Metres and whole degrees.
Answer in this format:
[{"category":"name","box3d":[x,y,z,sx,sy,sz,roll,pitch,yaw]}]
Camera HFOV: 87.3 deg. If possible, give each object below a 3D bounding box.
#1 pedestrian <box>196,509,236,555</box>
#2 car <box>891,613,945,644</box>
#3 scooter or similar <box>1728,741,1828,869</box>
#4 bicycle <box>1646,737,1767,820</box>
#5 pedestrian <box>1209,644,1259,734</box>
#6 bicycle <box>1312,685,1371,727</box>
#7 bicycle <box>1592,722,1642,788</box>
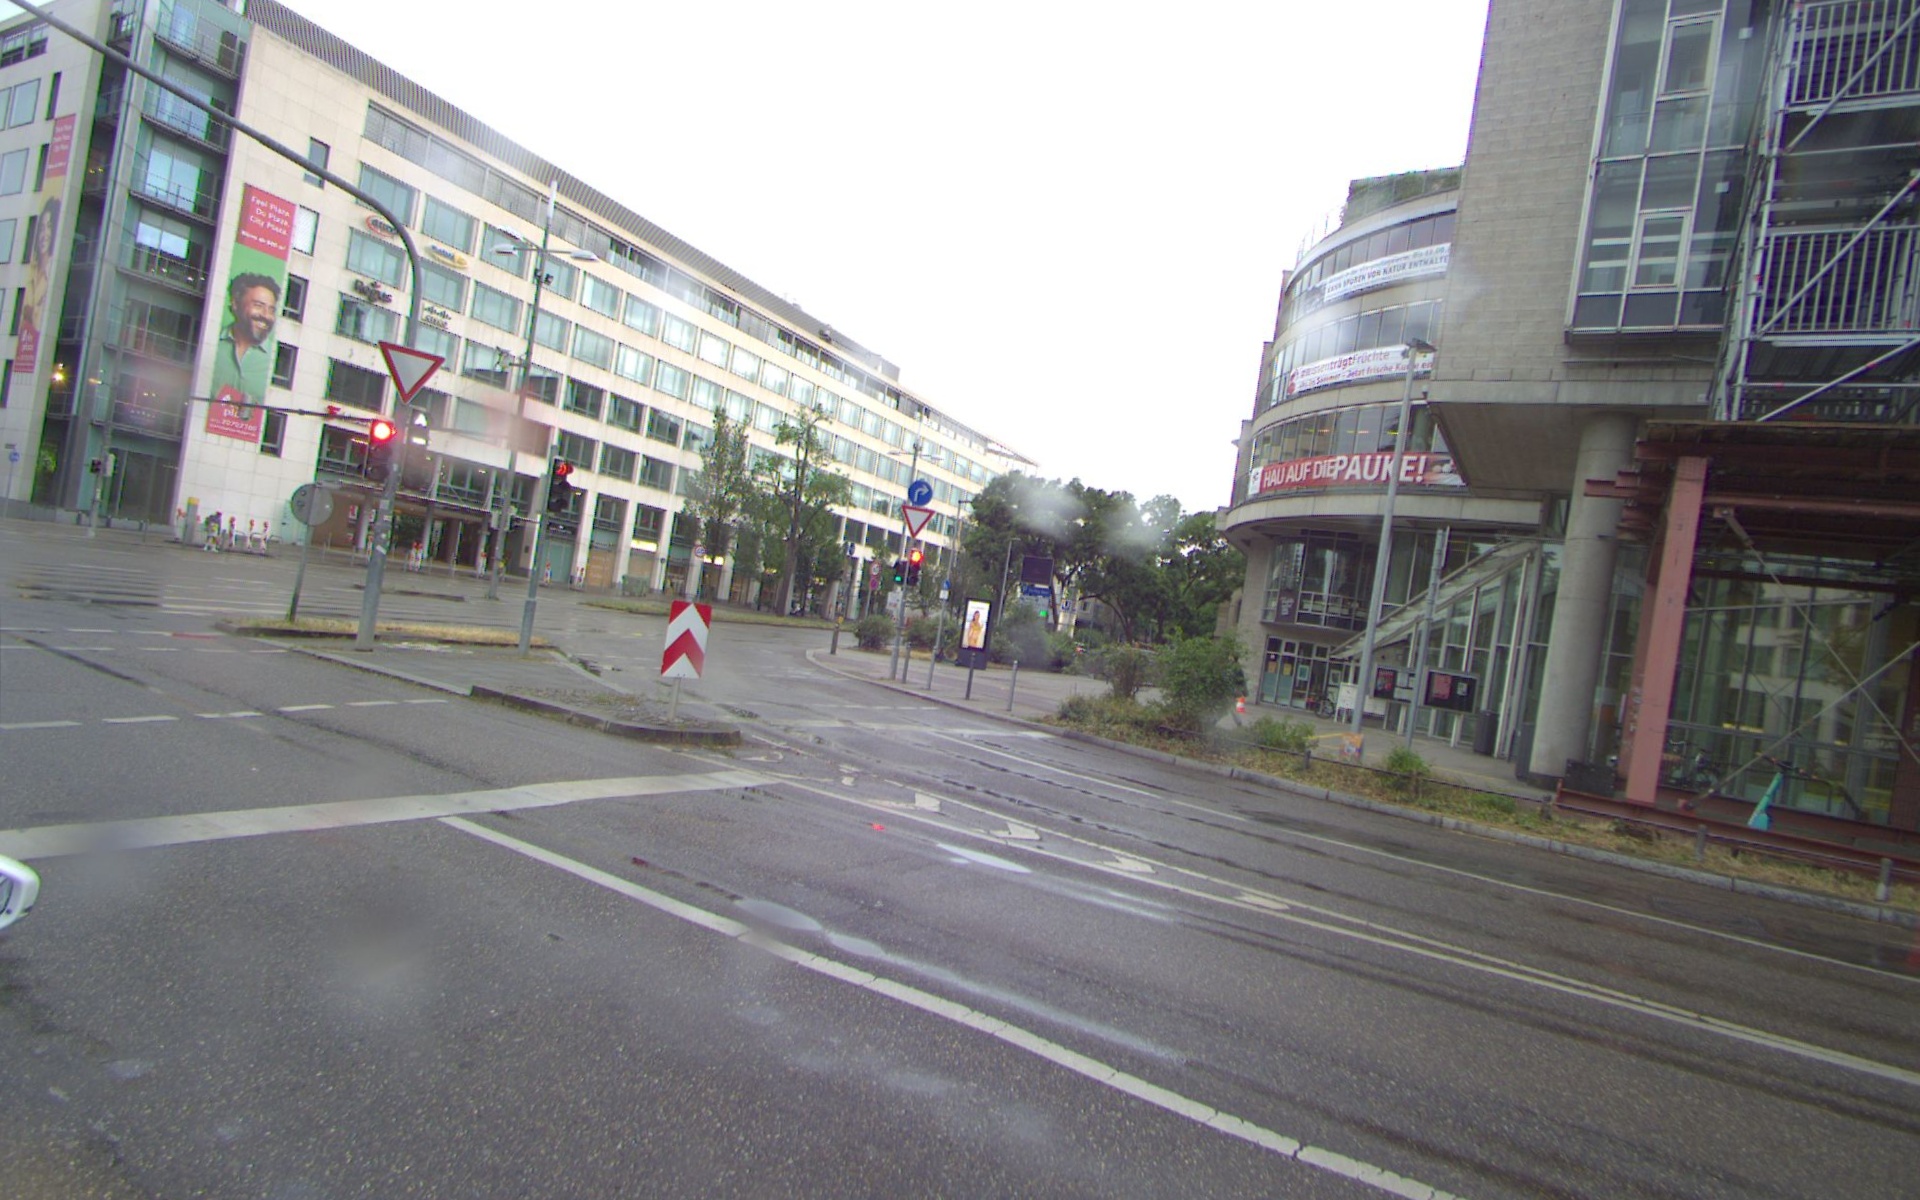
[{"category":"pedestrian","box3d":[-32.154,-2.932,43.465,0.822,1.838,0.963,6,-1,31]},{"category":"car","box3d":[-2.499,1.744,61.146,1.713,1.472,3.723,7,-2,23]},{"category":"scooter or similar","box3d":[9.233,2.267,11.411,0.577,1.208,1.780,7,-1,34]},{"category":"bicycle","box3d":[13.497,3.221,18.222,1.584,1.208,0.587,7,-1,6]},{"category":"pedestrian","box3d":[5.827,1.885,21.434,0.776,1.796,0.781,7,-1,13]},{"category":"bicycle","box3d":[13.467,3.742,35.523,1.753,1.208,0.586,6,-1,29]},{"category":"bicycle","box3d":[13.633,3.190,20.917,0.576,1.208,1.614,7,-2,27]}]
